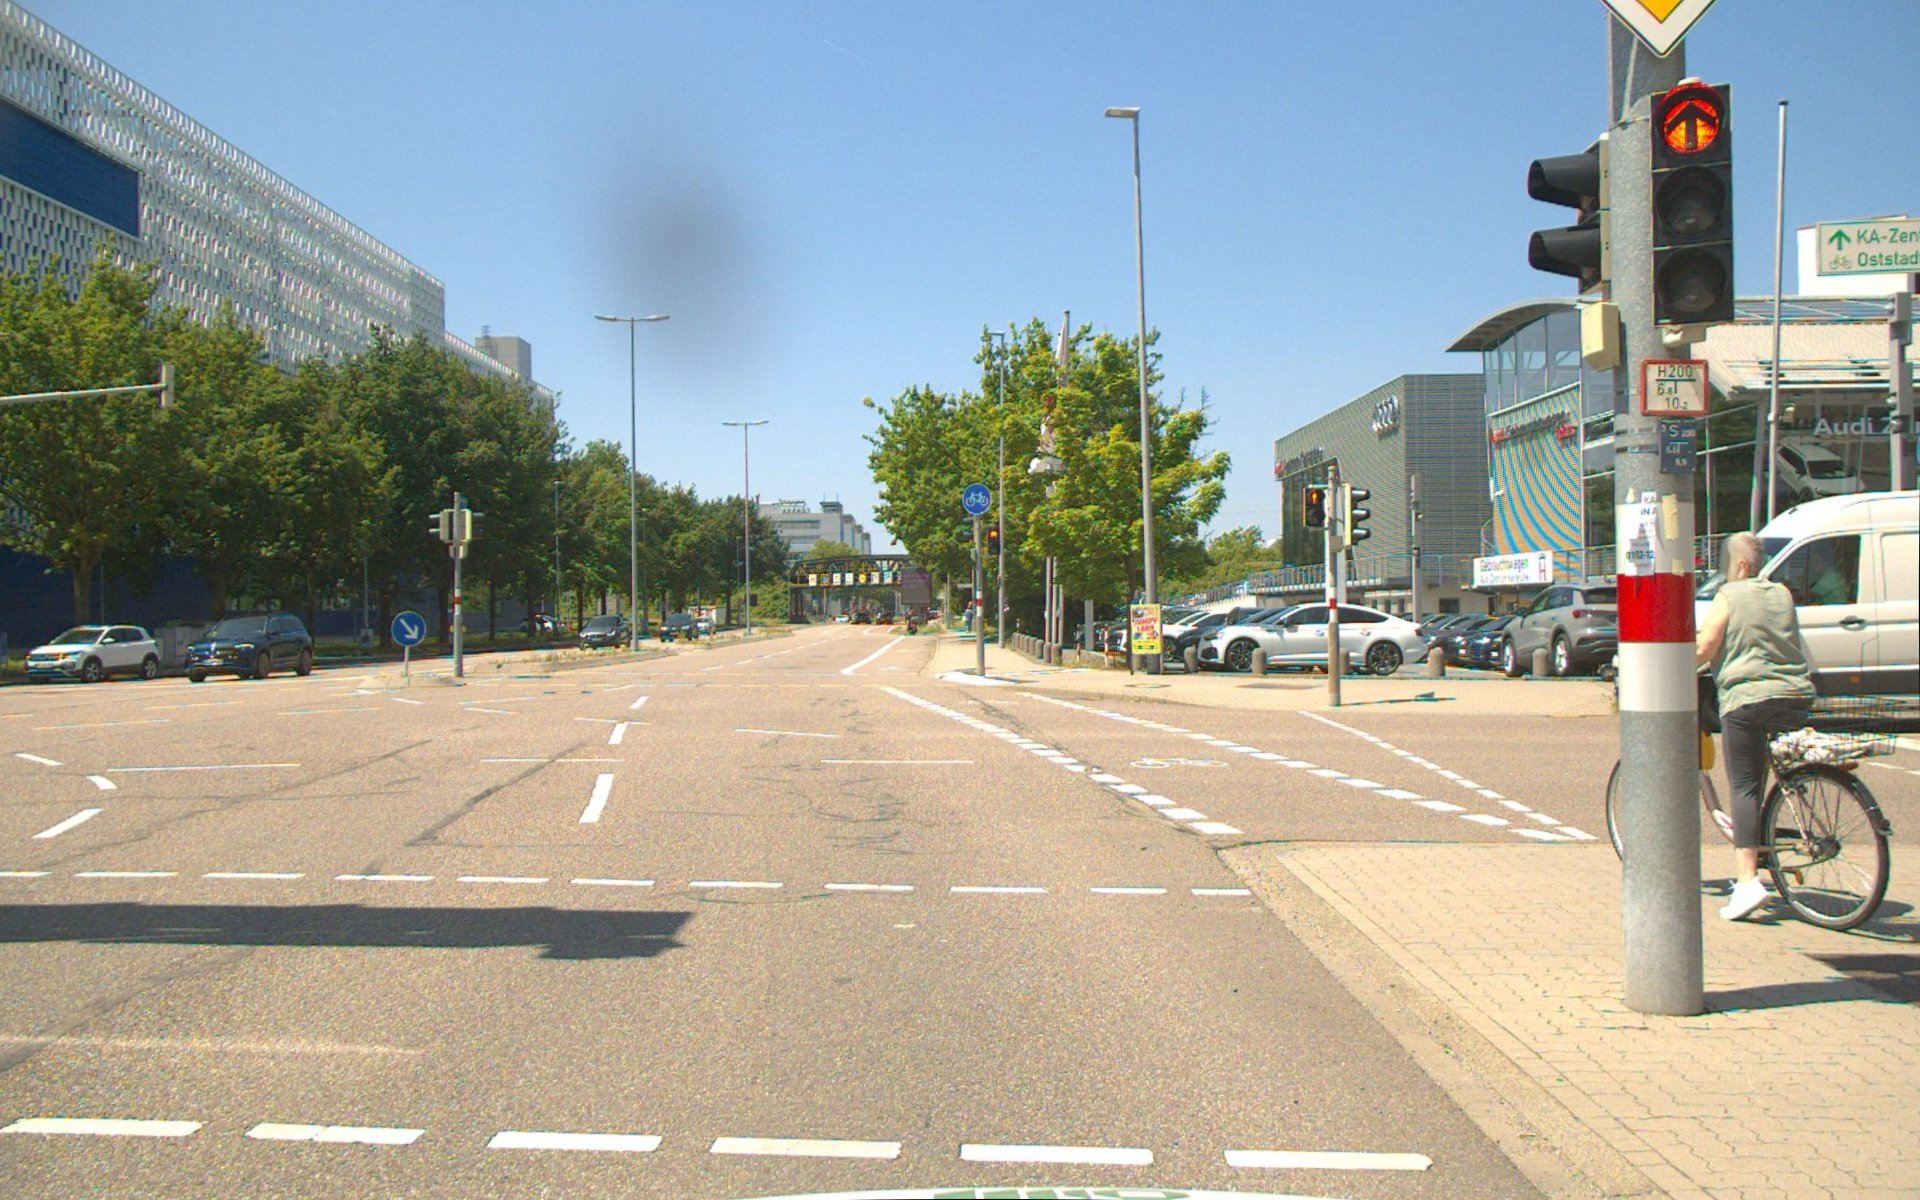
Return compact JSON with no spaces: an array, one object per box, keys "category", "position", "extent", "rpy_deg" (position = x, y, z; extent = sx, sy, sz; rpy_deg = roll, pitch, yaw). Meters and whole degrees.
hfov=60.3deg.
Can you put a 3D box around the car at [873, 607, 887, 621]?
[{"category":"car","position":[-10.626,1.828,219.956],"extent":[1.736,1.758,3.999],"rpy_deg":[-1,-1,-1]}]

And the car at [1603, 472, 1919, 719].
[{"category":"car","position":[10.285,-0.042,18.251],"extent":[5.658,2.578,2.104],"rpy_deg":[0,-1,12]}]

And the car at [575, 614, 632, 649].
[{"category":"car","position":[-15.651,1.373,72.831],"extent":[1.697,1.452,3.705],"rpy_deg":[-3,-1,-1]}]

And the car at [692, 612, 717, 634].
[{"category":"car","position":[-20.336,1.836,131.776],"extent":[1.617,1.682,4.159],"rpy_deg":[-1,0,-5]}]

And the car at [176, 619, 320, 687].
[{"category":"car","position":[-18.340,1.313,42.834],"extent":[1.837,1.626,4.495],"rpy_deg":[-1,-1,-1]}]

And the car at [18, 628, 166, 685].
[{"category":"car","position":[-24.300,1.557,46.470],"extent":[1.587,1.483,4.073],"rpy_deg":[-1,-1,7]}]

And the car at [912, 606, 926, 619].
[{"category":"car","position":[-5.446,1.689,220.634],"extent":[1.736,1.758,3.999],"rpy_deg":[-1,-1,-1]}]

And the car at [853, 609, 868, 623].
[{"category":"car","position":[-13.532,2.166,225.254],"extent":[1.736,1.758,3.999],"rpy_deg":[-1,-1,-1]}]

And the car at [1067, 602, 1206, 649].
[{"category":"car","position":[6.256,0.909,59.028],"extent":[4.646,1.482,1.999],"rpy_deg":[-2,0,-3]}]

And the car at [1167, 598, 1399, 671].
[{"category":"car","position":[6.944,0.753,35.926],"extent":[4.643,1.482,2.000],"rpy_deg":[-1,-1,1]}]

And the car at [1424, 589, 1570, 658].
[{"category":"car","position":[16.773,0.723,51.799],"extent":[3.905,2.049,2.000],"rpy_deg":[-1,0,0]}]

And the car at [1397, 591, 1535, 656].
[{"category":"car","position":[16.664,0.765,54.613],"extent":[3.905,2.049,2.000],"rpy_deg":[-1,0,0]}]

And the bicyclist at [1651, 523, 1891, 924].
[{"category":"bicyclist","position":[3.774,0.548,7.746],"extent":[0.719,1.779,0.753],"rpy_deg":[0,0,-5]}]

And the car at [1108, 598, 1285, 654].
[{"category":"car","position":[6.614,0.711,46.638],"extent":[4.646,1.482,1.999],"rpy_deg":[-1,0,-3]}]

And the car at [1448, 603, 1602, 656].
[{"category":"car","position":[16.859,0.874,49.458],"extent":[4.008,1.486,1.719],"rpy_deg":[-1,0,0]}]

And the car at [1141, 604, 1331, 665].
[{"category":"car","position":[7.261,0.891,43.855],"extent":[4.646,1.482,1.999],"rpy_deg":[-1,0,-3]}]

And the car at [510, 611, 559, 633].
[{"category":"car","position":[-38.189,1.920,148.519],"extent":[3.939,1.842,1.997],"rpy_deg":[2,0,28]}]

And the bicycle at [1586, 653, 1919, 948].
[{"category":"bicycle","position":[3.790,0.867,7.875],"extent":[0.771,1.147,1.919],"rpy_deg":[0,0,-4]}]

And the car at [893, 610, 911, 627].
[{"category":"car","position":[-3.696,1.178,105.296],"extent":[1.114,1.060,2.308],"rpy_deg":[-1,0,-1]}]

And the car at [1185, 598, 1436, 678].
[{"category":"car","position":[6.983,0.741,33.329],"extent":[4.643,1.482,2.000],"rpy_deg":[-1,0,1]}]

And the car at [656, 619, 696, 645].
[{"category":"car","position":[-16.381,1.841,95.513],"extent":[1.650,1.436,3.664],"rpy_deg":[-1,-1,-1]}]

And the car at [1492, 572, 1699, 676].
[{"category":"car","position":[11.065,0.373,29.145],"extent":[1.953,1.668,4.267],"rpy_deg":[-1,0,-1]}]

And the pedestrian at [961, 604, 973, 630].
[{"category":"pedestrian","position":[0.410,1.015,98.412],"extent":[0.654,1.537,0.736],"rpy_deg":[-1,0,-1]}]

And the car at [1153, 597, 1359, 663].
[{"category":"car","position":[7.101,0.704,40.025],"extent":[4.643,1.482,2.000],"rpy_deg":[-1,0,1]}]

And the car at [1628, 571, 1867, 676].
[{"category":"car","position":[13.680,0.364,29.079],"extent":[1.953,1.668,4.557],"rpy_deg":[-1,0,-1]}]

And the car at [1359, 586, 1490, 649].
[{"category":"car","position":[15.968,0.586,57.005],"extent":[3.905,2.049,2.000],"rpy_deg":[-1,0,0]}]
